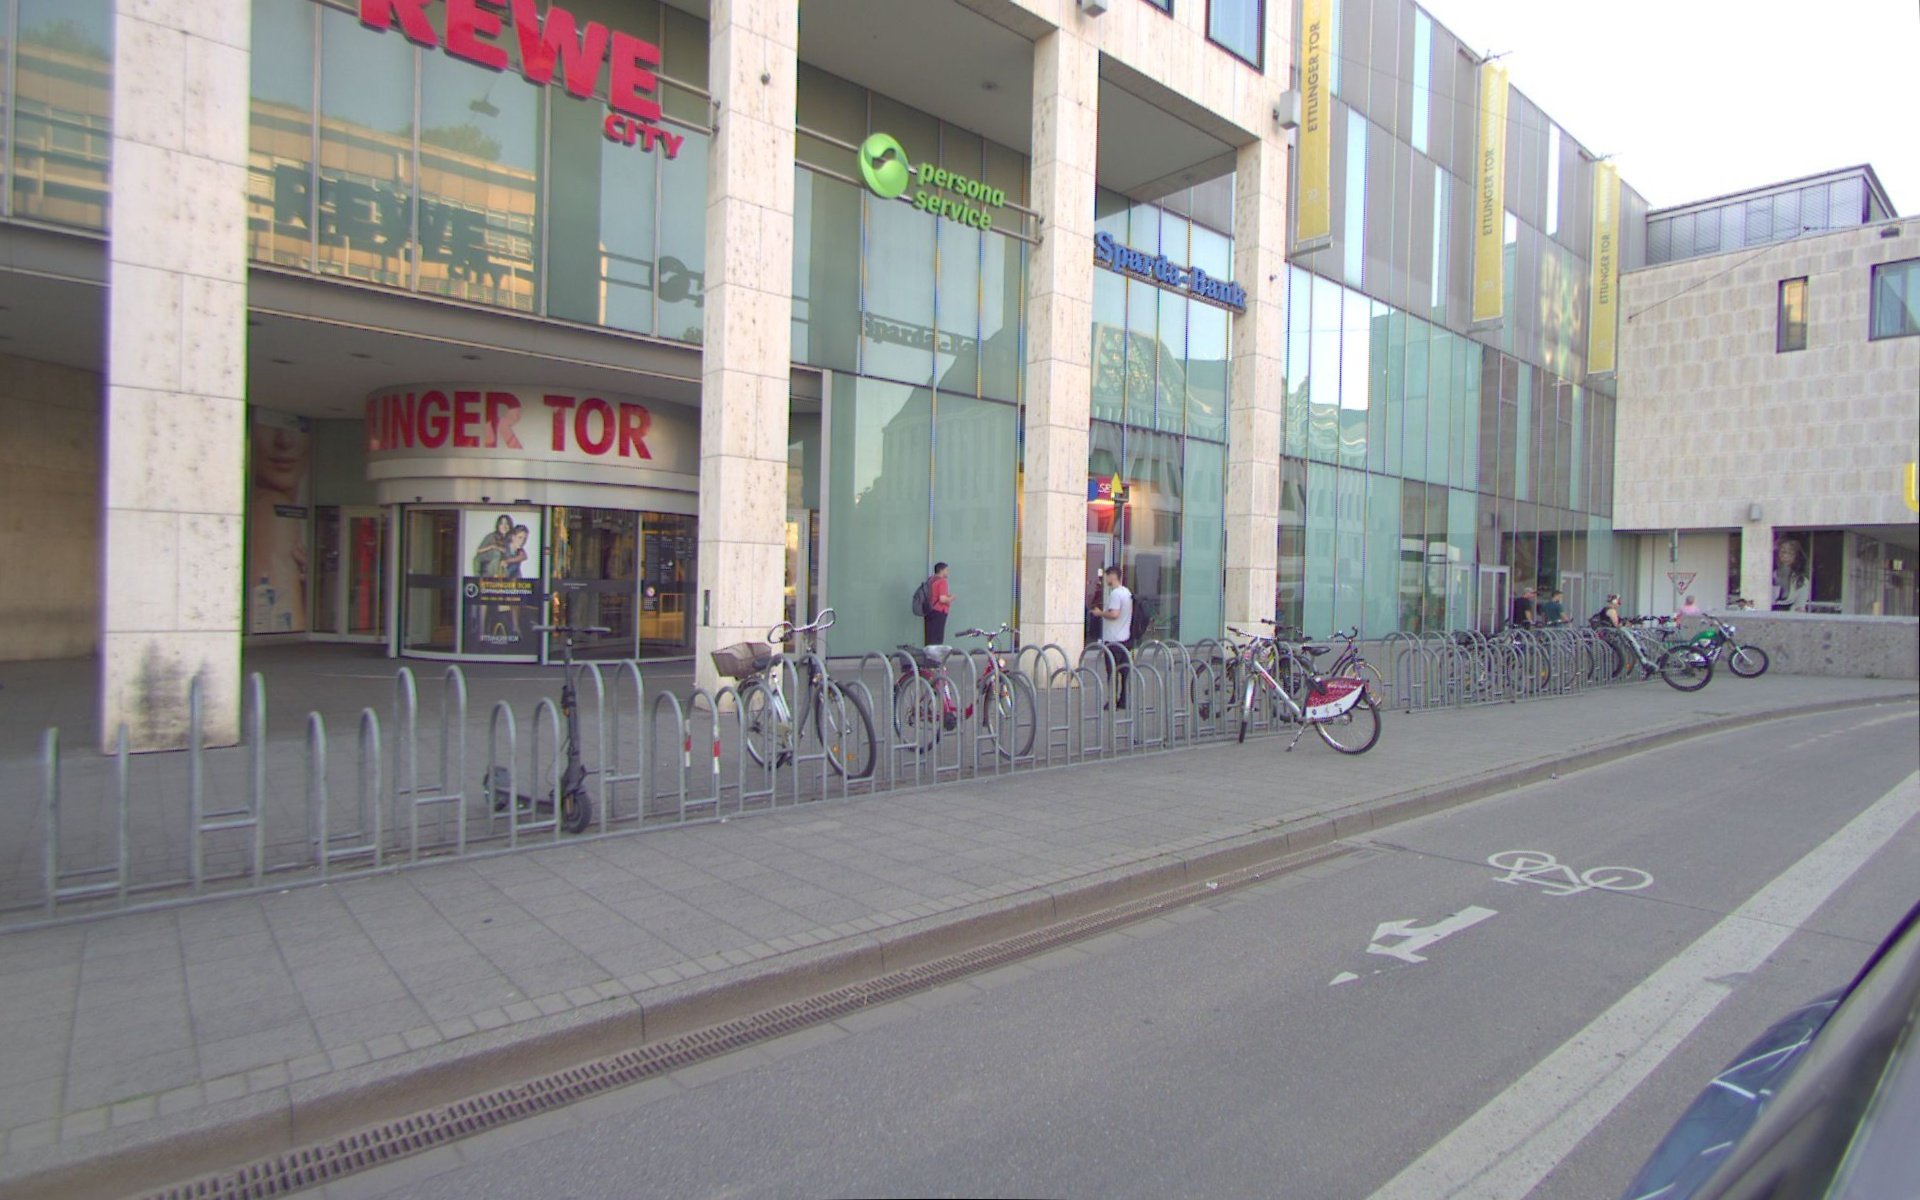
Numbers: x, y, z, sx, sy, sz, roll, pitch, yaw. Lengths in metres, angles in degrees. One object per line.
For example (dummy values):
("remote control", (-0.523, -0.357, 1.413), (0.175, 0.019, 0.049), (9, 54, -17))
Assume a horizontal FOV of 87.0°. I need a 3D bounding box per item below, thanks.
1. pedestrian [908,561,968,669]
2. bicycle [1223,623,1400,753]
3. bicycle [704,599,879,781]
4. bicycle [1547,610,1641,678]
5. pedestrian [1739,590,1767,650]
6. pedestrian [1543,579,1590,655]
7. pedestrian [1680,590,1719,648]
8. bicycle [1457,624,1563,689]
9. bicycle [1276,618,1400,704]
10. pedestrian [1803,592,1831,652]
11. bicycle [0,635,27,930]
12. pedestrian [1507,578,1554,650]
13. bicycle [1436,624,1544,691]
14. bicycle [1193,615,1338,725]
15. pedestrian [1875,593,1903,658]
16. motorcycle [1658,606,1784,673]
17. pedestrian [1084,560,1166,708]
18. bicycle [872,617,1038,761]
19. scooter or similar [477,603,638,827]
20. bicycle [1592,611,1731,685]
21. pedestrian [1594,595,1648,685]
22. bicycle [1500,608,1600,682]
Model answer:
("pedestrian", (-0.357, 0.226, 16.243), (0.695, 1.672, 0.629), (1, 1, -40))
("bicycle", (3.172, 0.757, 9.249), (0.458, 1.077, 1.518), (1, -2, -39))
("bicycle", (-1.305, 0.623, 7.668), (0.607, 1.243, 1.517), (1, -2, -41))
("bicycle", (11.396, 0.768, 18.221), (0.509, 1.179, 1.344), (1, -2, -41))
("pedestrian", (23.878, 0.593, 30.472), (0.644, 1.765, 0.494), (1, 1, -38))
("pedestrian", (14.134, 0.384, 23.570), (0.806, 1.717, 0.697), (1, 1, -42))
("pedestrian", (22.987, 0.589, 31.444), (0.644, 1.765, 0.794), (1, 1, -38))
("bicycle", (8.457, 0.853, 15.586), (0.509, 0.944, 1.344), (1, -2, -41))
("bicycle", (5.014, 0.779, 13.451), (1.439, 1.078, 0.572), (-1, -2, 39))
("pedestrian", (25.552, 0.650, 30.164), (0.483, 1.765, 0.504), (1, 1, -38))
("bicycle", (-4.553, 0.729, 4.479), (1.768, 1.092, 0.475), (3, 1, 43))
("pedestrian", (13.632, 0.329, 24.182), (0.806, 1.668, 0.739), (1, 1, -42))
("bicycle", (7.947, 0.840, 15.207), (0.509, 0.944, 1.344), (1, -2, -41))
("bicycle", (3.380, 0.740, 11.311), (0.569, 1.138, 1.519), (1, -2, -36))
("pedestrian", (25.556, 0.685, 27.846), (0.483, 1.765, 0.455), (1, 1, -38))
("motorcycle", (15.581, 0.789, 20.767), (0.472, 1.239, 2.004), (1, 1, -43))
("pedestrian", (1.989, 0.387, 12.223), (0.618, 1.713, 0.707), (1, 1, -40))
("bicycle", (-0.073, 0.711, 8.671), (0.543, 1.120, 1.516), (1, -2, -43))
("scooter or similar", (-2.517, 0.649, 6.277), (0.484, 1.214, 1.194), (1, 1, -44))
("bicycle", (11.568, 0.772, 16.746), (0.458, 1.161, 1.837), (1, -2, -39))
("pedestrian", (12.730, 0.753, 19.502), (0.802, 1.663, 0.640), (2, 1, 31))
("bicycle", (9.833, 0.735, 16.896), (0.509, 1.179, 1.344), (1, -2, -41))
